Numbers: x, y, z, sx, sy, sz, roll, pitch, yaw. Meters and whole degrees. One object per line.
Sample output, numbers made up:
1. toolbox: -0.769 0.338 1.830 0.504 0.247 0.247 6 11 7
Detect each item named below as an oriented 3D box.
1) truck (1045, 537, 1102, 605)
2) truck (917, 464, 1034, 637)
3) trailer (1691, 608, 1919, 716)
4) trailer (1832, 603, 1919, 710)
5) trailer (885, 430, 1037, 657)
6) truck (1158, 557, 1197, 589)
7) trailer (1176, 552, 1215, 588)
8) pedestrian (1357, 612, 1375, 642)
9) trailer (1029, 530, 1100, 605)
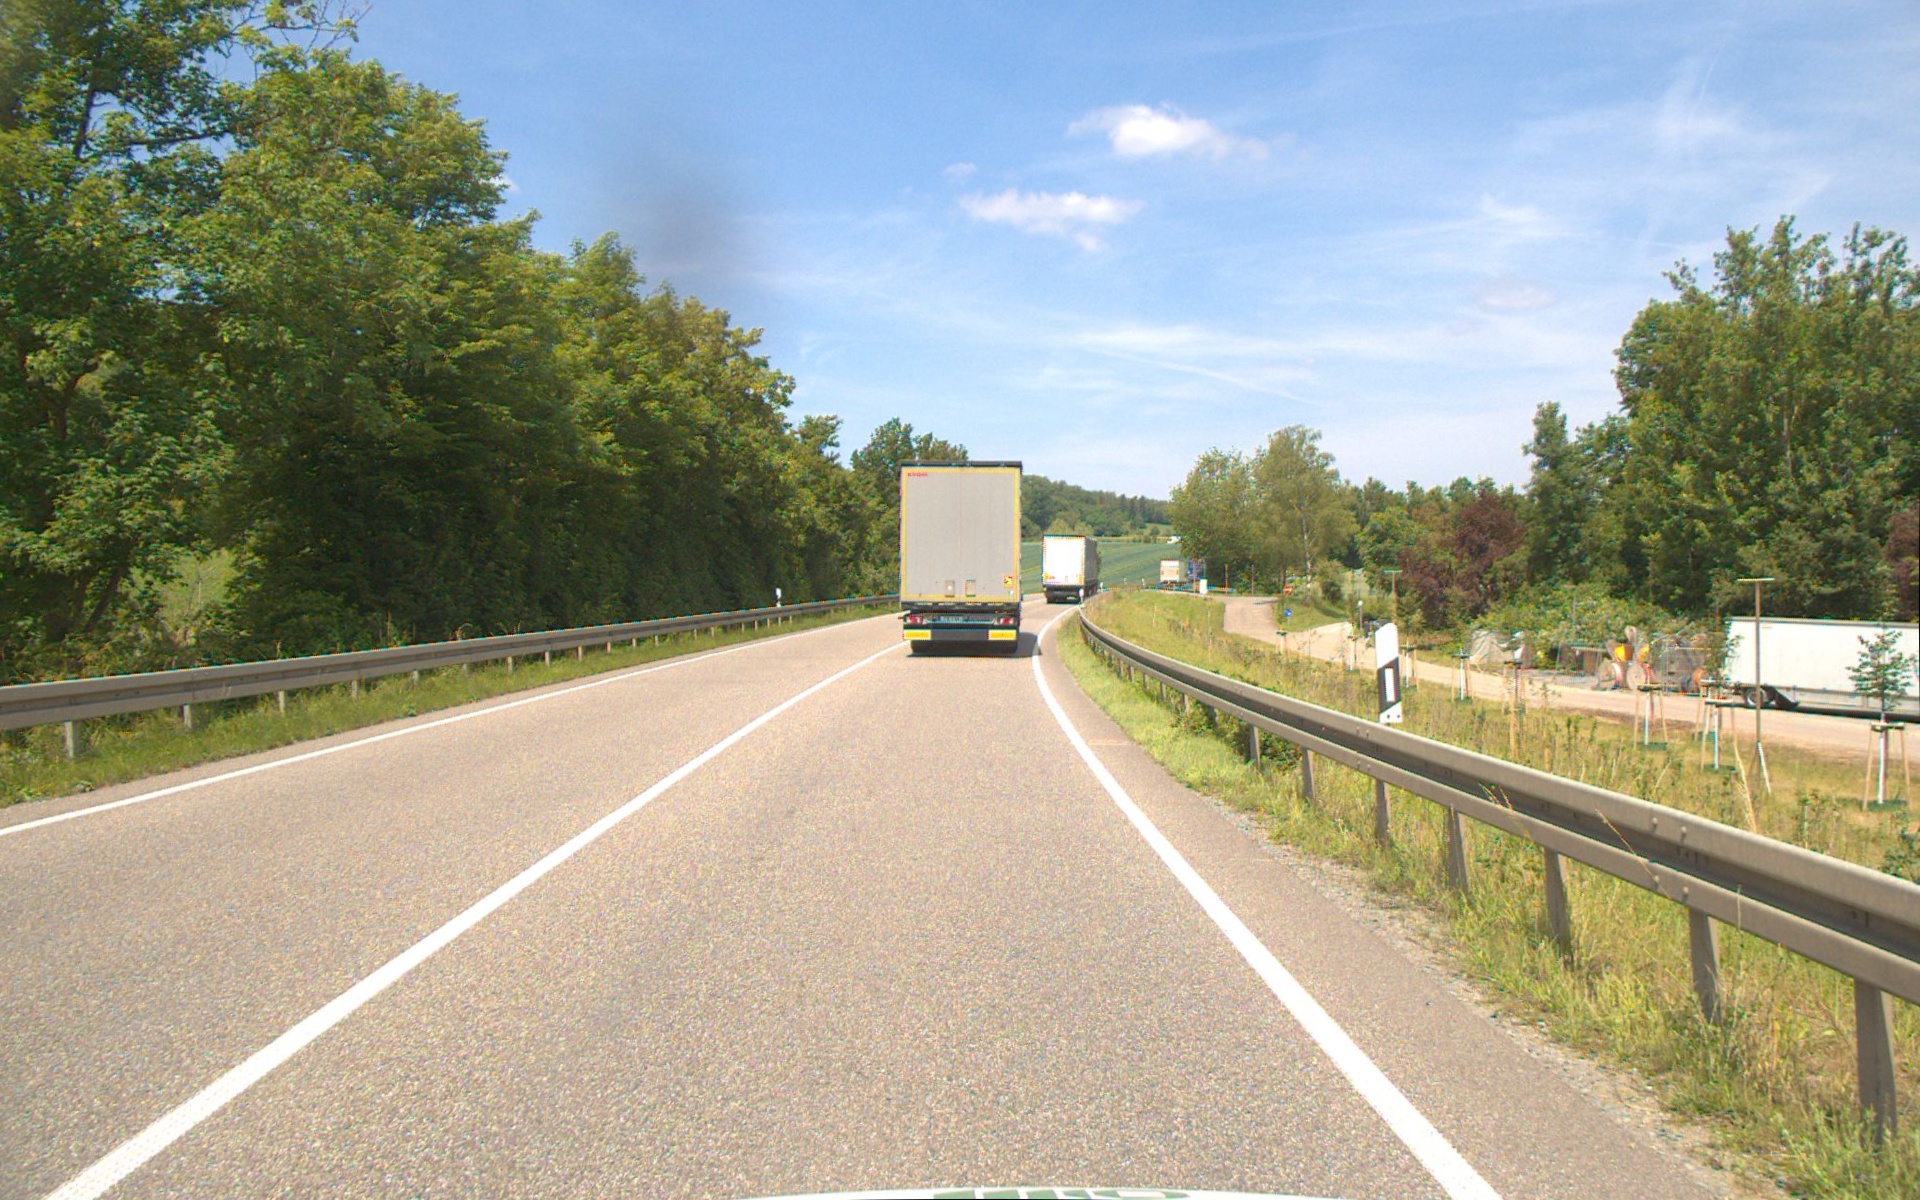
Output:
1. truck: 7.664 -1.887 110.941 3.293 4.392 6.746 0 0 9
2. truck: 0.549 -1.365 47.402 3.053 4.573 6.814 0 1 3
3. trailer: 31.781 2.109 58.350 2.688 3.386 11.782 0 1 -29
4. trailer: 36.104 2.094 56.545 2.686 3.669 11.793 1 1 -27
5. trailer: 0.259 -1.245 40.528 3.053 4.578 13.890 0 1 2
6. truck: 24.719 -2.987 187.322 3.154 3.424 11.884 0 0 13
7. trailer: 29.805 -3.721 208.594 3.570 4.337 12.204 0 0 14
8. pedestrian: 25.684 1.696 104.676 0.867 1.842 0.959 -2 1 0
9. trailer: 6.736 -1.898 104.656 3.293 4.392 13.875 0 0 8
